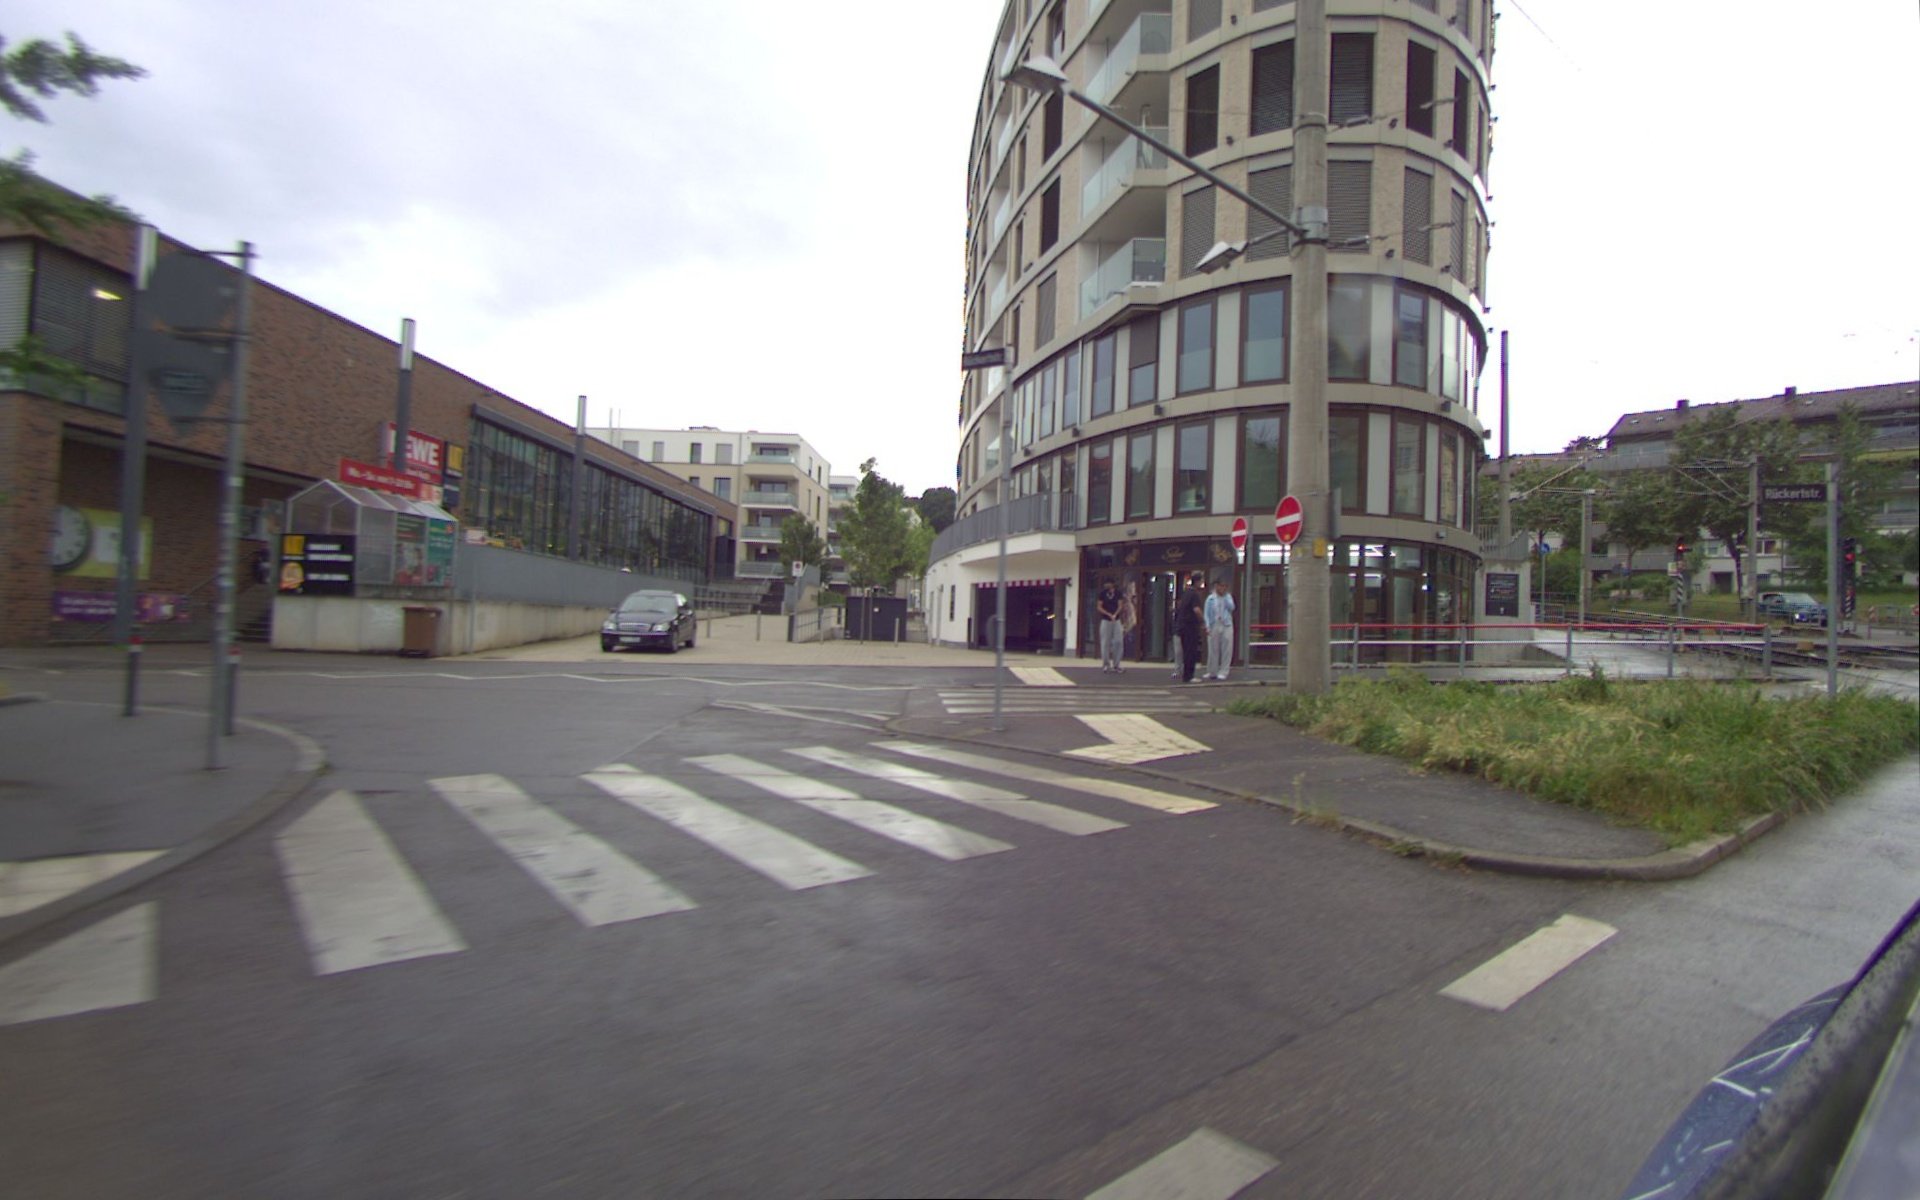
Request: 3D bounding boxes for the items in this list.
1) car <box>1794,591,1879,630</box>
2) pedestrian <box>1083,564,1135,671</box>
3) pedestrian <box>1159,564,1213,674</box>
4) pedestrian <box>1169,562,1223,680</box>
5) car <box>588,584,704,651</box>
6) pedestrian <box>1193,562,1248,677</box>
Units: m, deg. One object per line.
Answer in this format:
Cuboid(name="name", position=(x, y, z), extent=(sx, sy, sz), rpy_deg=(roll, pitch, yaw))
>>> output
Cuboid(name="car", position=(34.404, 0.376, 39.677), extent=(3.931, 1.380, 1.997), rpy_deg=(0, 2, -41))
Cuboid(name="pedestrian", position=(2.939, 0.324, 19.933), extent=(0.591, 2.038, 0.878), rpy_deg=(2, 1, 43))
Cuboid(name="pedestrian", position=(4.307, 0.343, 19.259), extent=(0.591, 2.039, 0.878), rpy_deg=(2, 1, 43))
Cuboid(name="pedestrian", position=(4.202, 0.360, 18.033), extent=(0.680, 2.039, 0.776), rpy_deg=(1, 1, 35))
Cuboid(name="car", position=(-7.732, 0.377, 25.303), extent=(1.960, 1.375, 4.006), rpy_deg=(2, 2, -5))
Cuboid(name="pedestrian", position=(4.832, 0.341, 18.756), extent=(0.653, 2.038, 0.880), rpy_deg=(3, 2, 35))
